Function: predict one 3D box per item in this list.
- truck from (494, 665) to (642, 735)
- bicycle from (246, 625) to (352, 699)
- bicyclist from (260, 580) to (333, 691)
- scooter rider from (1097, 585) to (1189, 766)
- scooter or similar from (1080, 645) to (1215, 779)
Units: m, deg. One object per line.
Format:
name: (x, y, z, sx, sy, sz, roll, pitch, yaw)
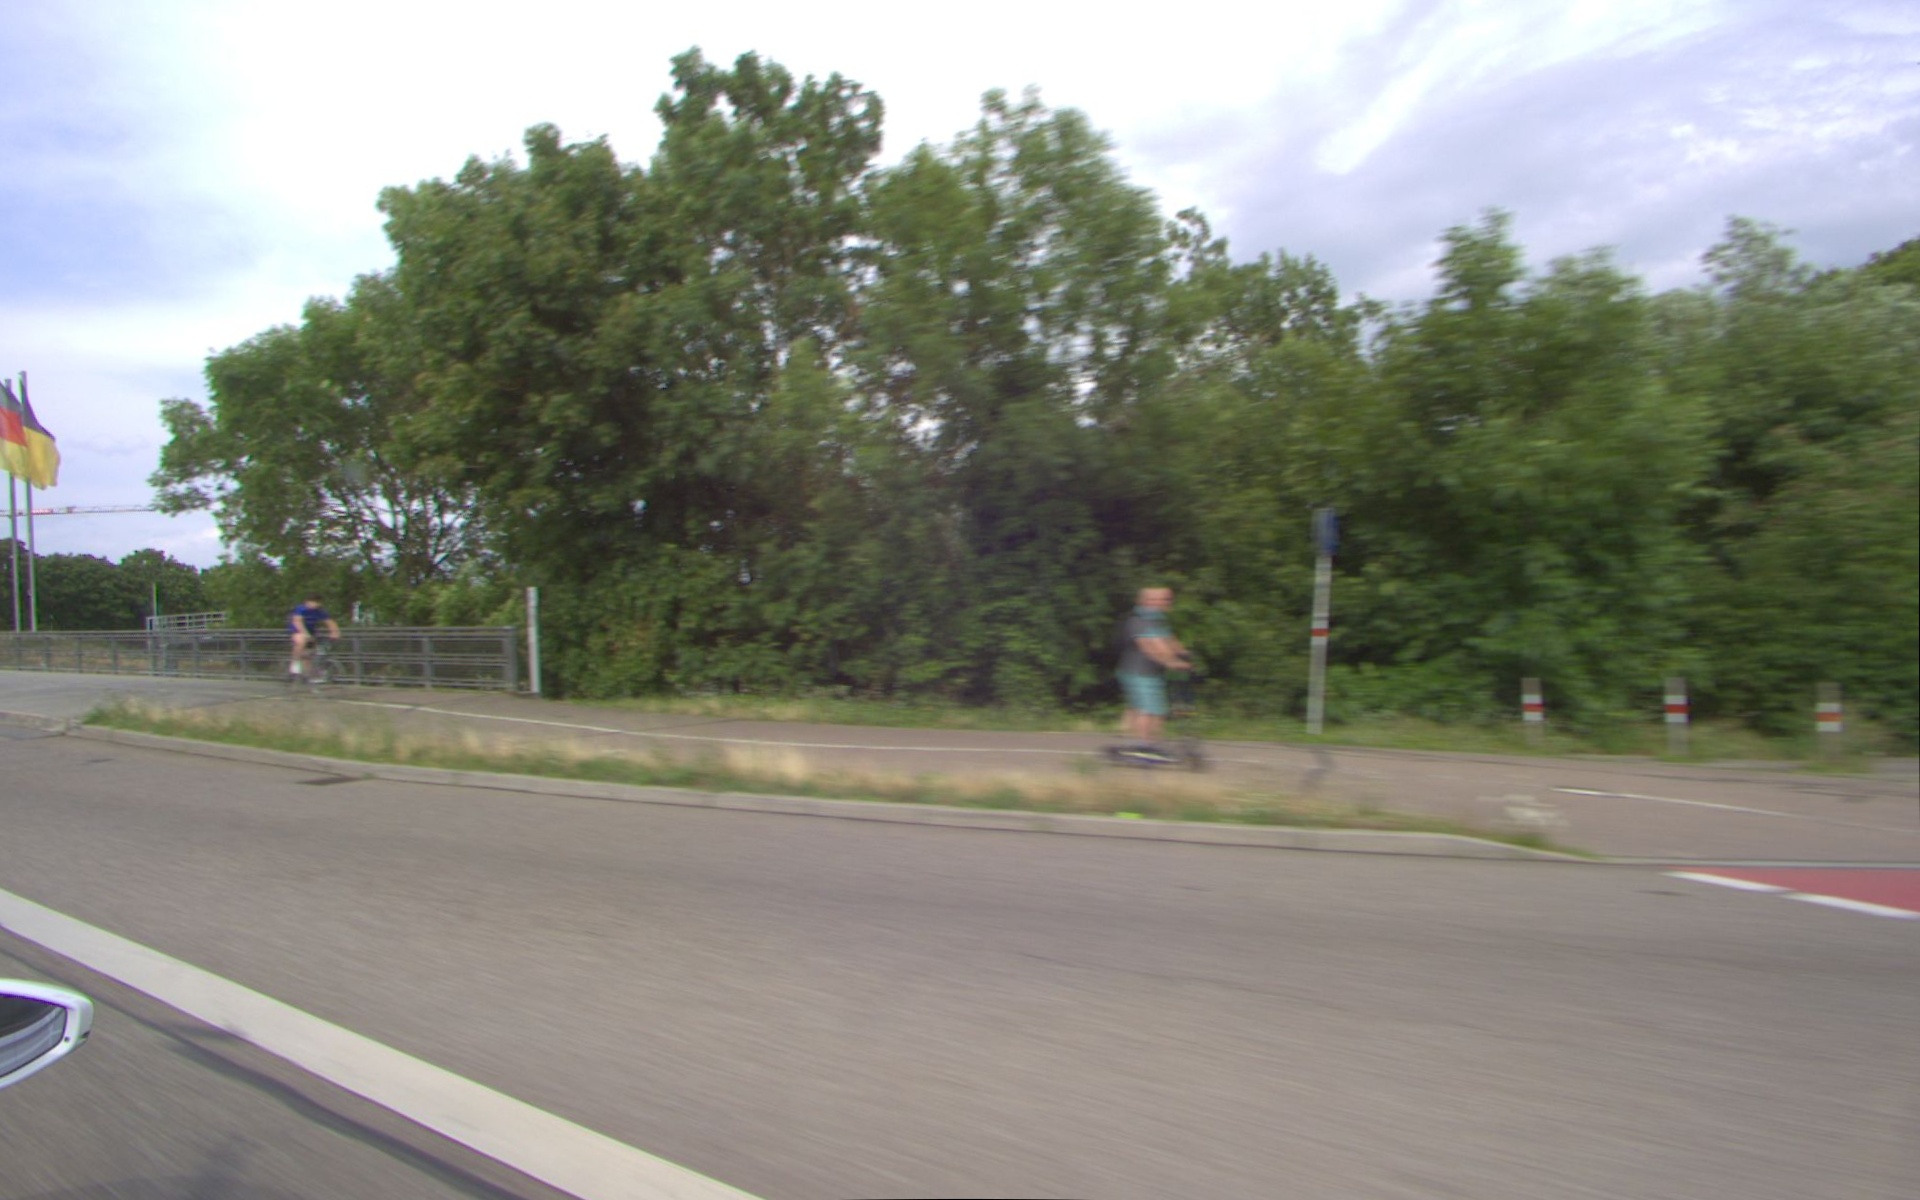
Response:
truck: (-25.347, 6.349, 66.029, 3.292, 3.664, 13.999, 0, -2, 5)
bicycle: (-10.377, 0.945, 15.691, 1.946, 1.036, 0.575, 0, 3, 31)
bicyclist: (-10.392, 0.549, 15.688, 0.793, 1.681, 0.663, 1, 0, 31)
scooter rider: (1.821, 0.730, 9.943, 0.733, 1.712, 0.586, -1, -1, 32)
scooter or similar: (1.851, 1.071, 9.923, 1.185, 1.240, 0.587, -1, -1, 32)
